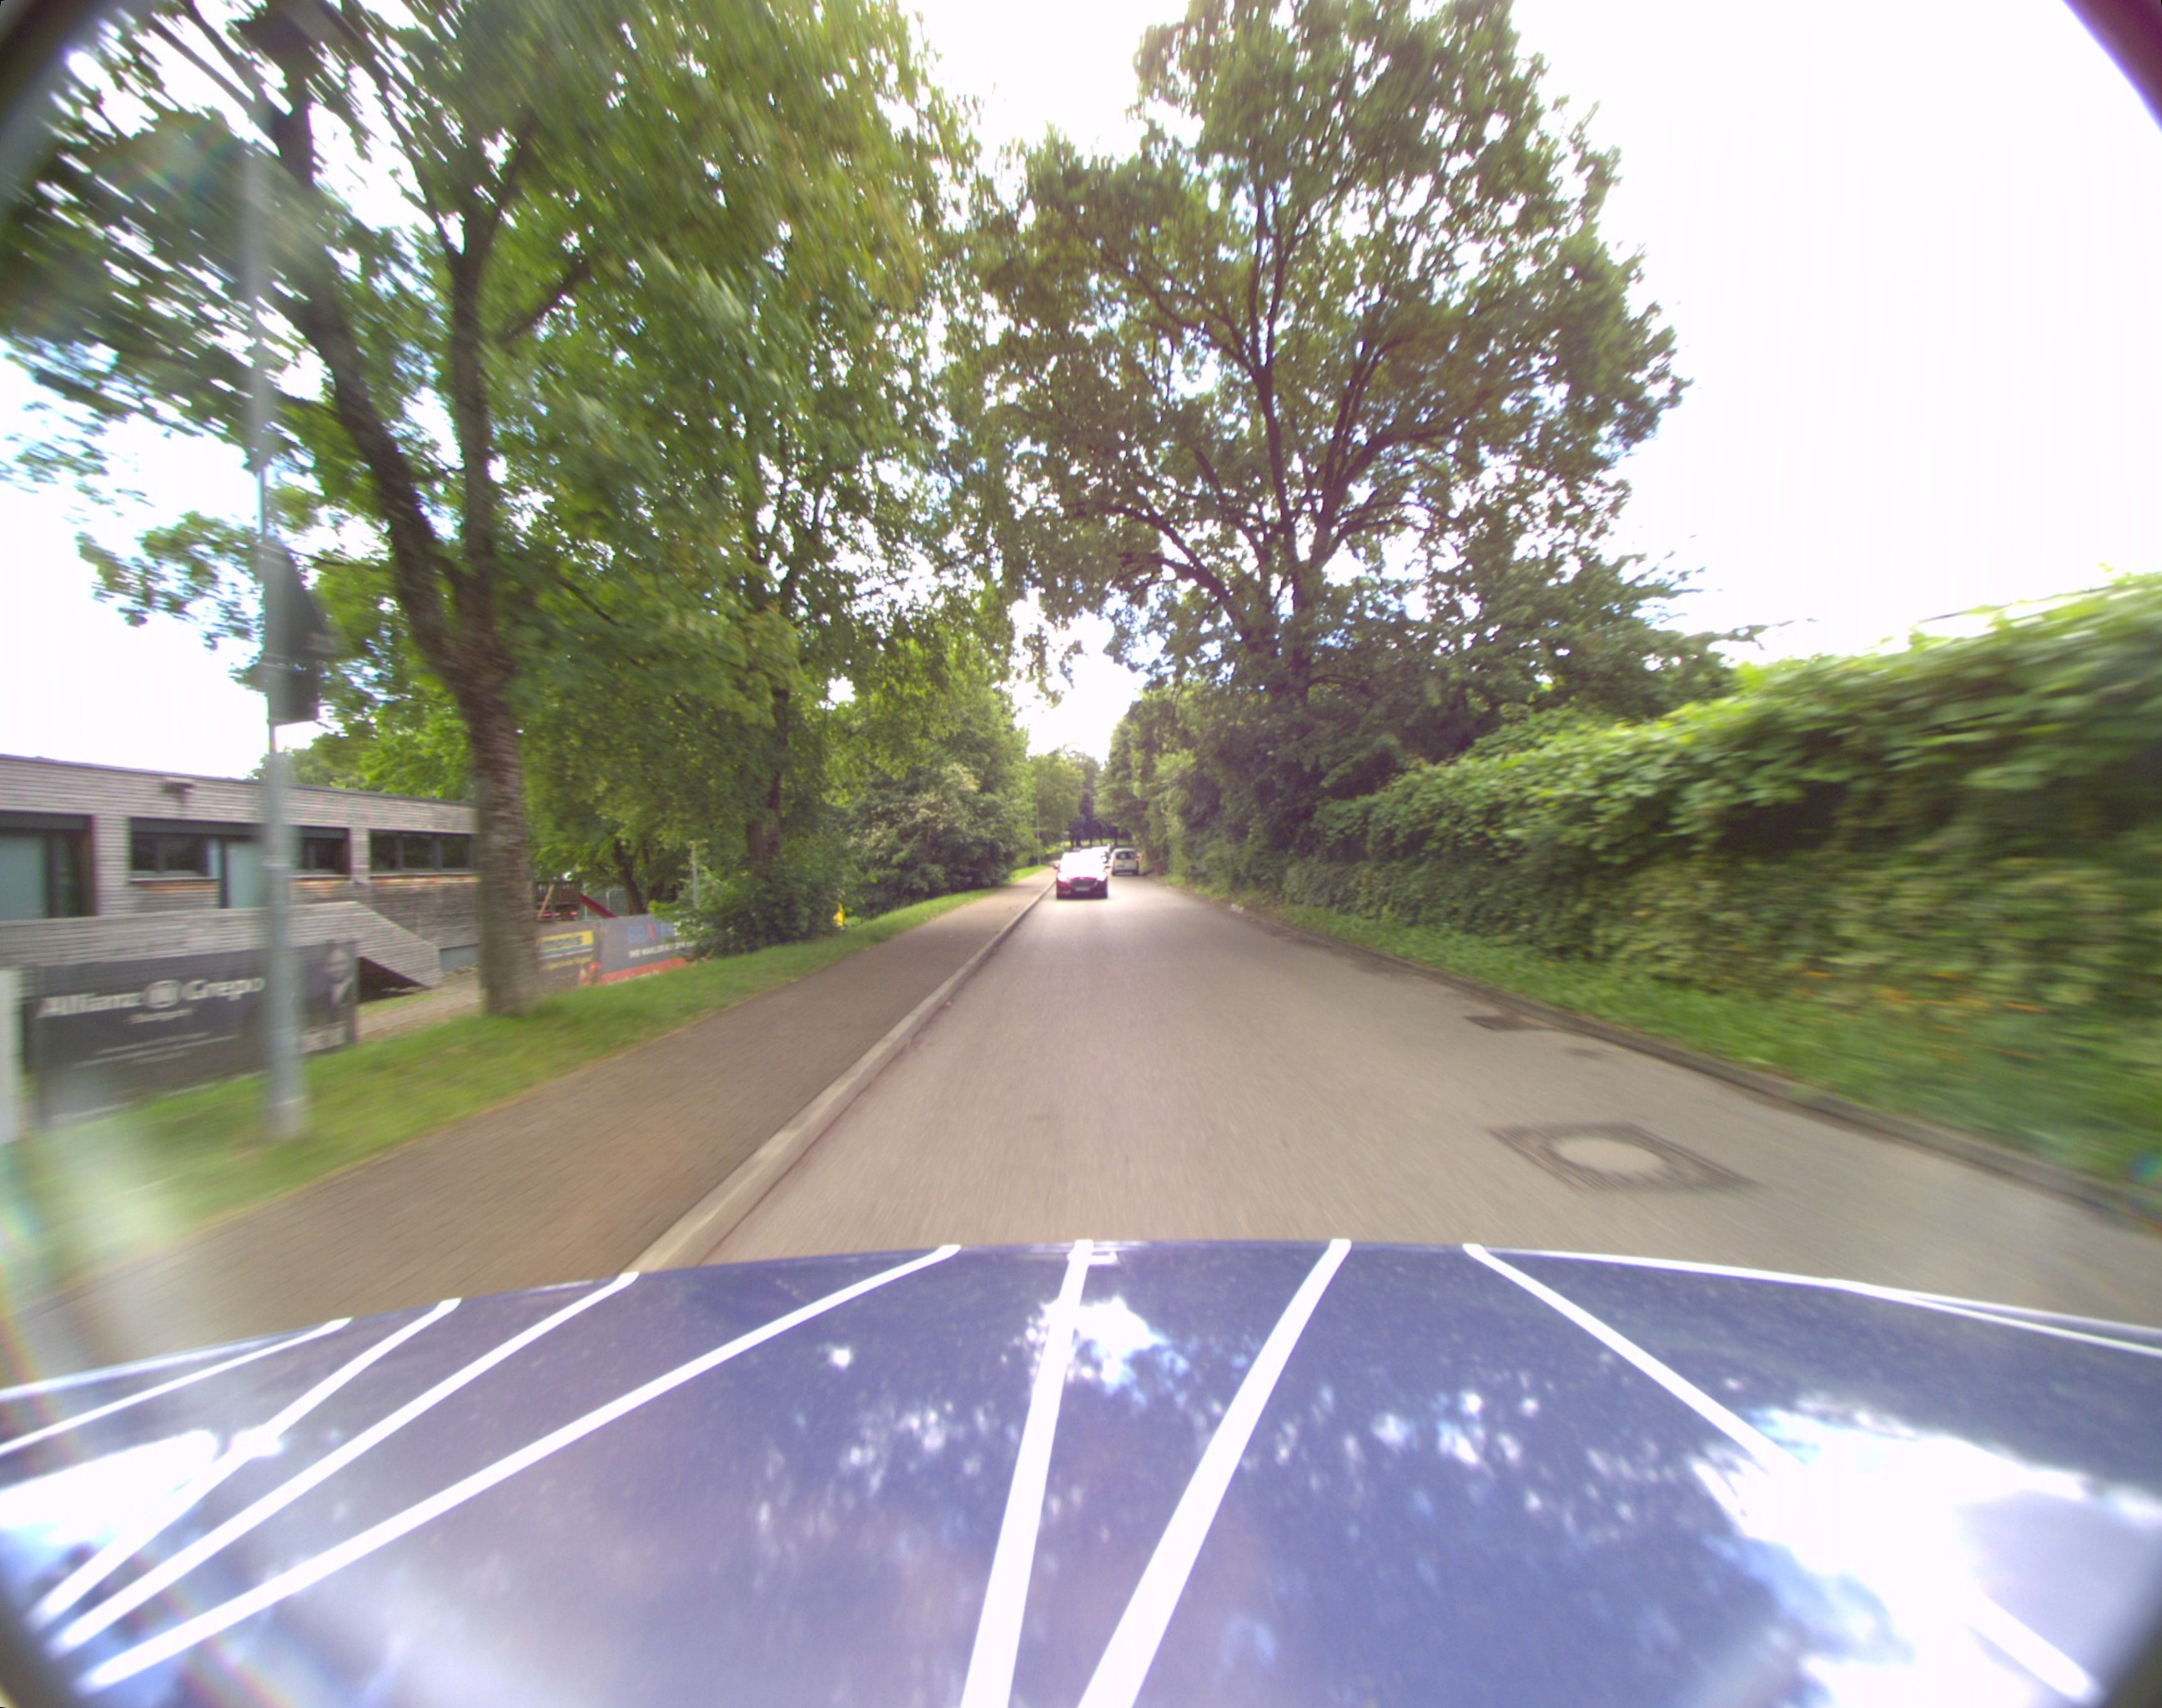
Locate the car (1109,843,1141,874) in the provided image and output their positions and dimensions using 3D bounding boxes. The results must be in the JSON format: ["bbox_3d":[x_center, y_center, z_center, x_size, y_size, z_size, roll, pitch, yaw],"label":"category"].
[{"bbox_3d":[2.899,0.250,50.911,1.878,1.903,4.430,-1,1,-1],"label":"car"}]

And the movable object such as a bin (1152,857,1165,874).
[{"bbox_3d":[4.520,0.673,44.494,0.649,1.007,0.632,-1,2,16],"label":"movable object such as a bin"}]

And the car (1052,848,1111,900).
[{"bbox_3d":[0.089,0.689,28.493,1.816,1.718,4.001,0,2,5],"label":"car"}]

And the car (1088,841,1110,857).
[{"bbox_3d":[1.921,-0.513,79.471,1.998,1.521,4.001,-1,2,5],"label":"car"}]

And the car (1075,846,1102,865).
[{"bbox_3d":[0.679,0.132,65.401,1.998,1.521,4.001,-1,2,5],"label":"car"}]
